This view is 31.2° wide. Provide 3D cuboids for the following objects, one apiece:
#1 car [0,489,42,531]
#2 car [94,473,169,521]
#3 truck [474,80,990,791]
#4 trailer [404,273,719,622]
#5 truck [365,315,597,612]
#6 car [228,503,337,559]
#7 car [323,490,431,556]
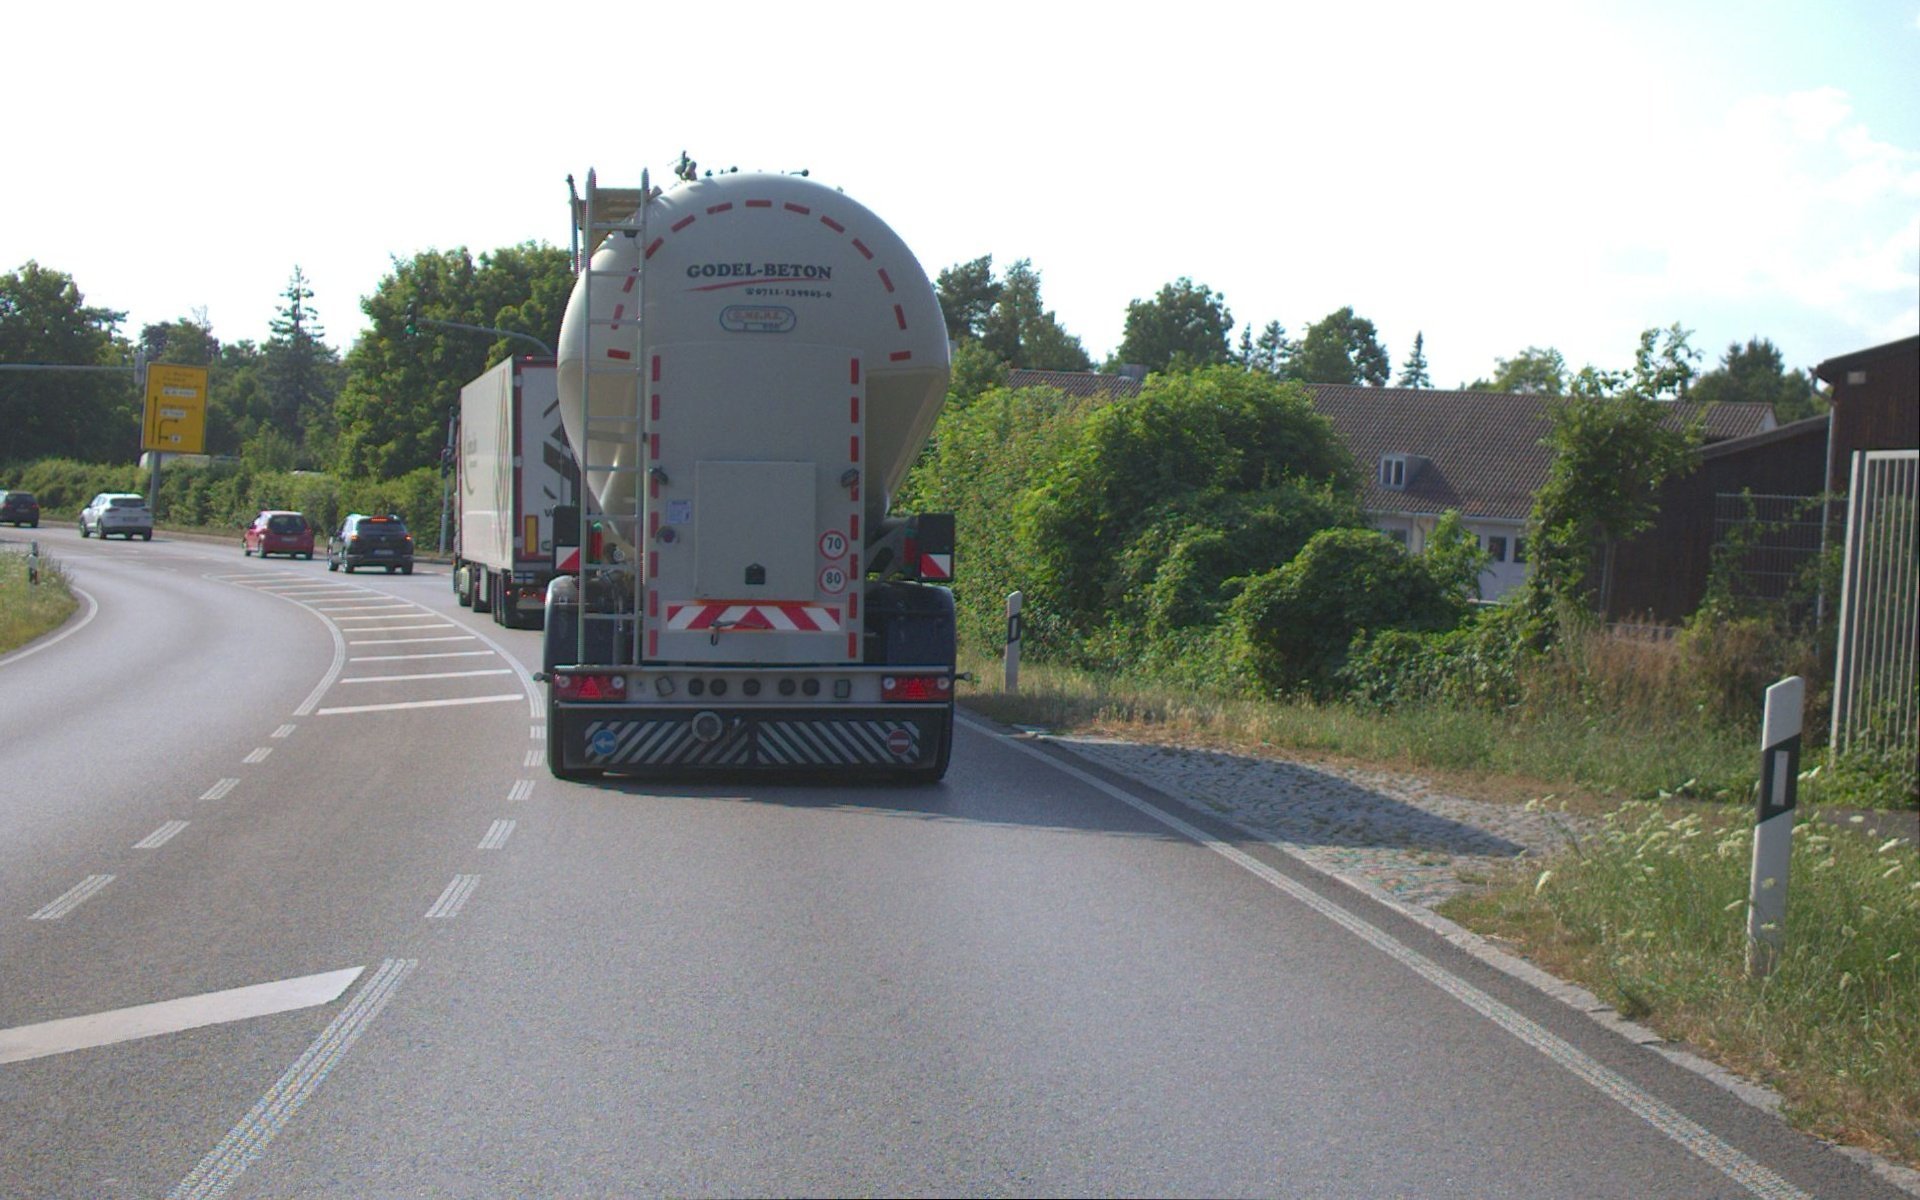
[{"bbox_3d":[-38.751,-3.665,141.055,1.519,1.650,3.873,1,0,-23],"label":"car"},{"bbox_3d":[-30.203,-3.752,125.249,1.841,1.650,4.001,1,0,-25],"label":"car"},{"bbox_3d":[-1.814,-1.015,26.312,2.975,4.161,11.664,1,0,-5],"label":"truck"},{"bbox_3d":[-6.442,-2.210,53.806,2.963,4.865,10.291,1,0,-17],"label":"trailer"},{"bbox_3d":[-8.532,-2.301,60.606,2.962,4.870,6.432,1,0,-17],"label":"truck"},{"bbox_3d":[-21.070,-2.134,106.820,2.299,1.650,4.416,1,0,-25],"label":"car"},{"bbox_3d":[-15.449,-2.013,90.964,1.993,1.650,4.001,1,0,-22],"label":"car"}]
